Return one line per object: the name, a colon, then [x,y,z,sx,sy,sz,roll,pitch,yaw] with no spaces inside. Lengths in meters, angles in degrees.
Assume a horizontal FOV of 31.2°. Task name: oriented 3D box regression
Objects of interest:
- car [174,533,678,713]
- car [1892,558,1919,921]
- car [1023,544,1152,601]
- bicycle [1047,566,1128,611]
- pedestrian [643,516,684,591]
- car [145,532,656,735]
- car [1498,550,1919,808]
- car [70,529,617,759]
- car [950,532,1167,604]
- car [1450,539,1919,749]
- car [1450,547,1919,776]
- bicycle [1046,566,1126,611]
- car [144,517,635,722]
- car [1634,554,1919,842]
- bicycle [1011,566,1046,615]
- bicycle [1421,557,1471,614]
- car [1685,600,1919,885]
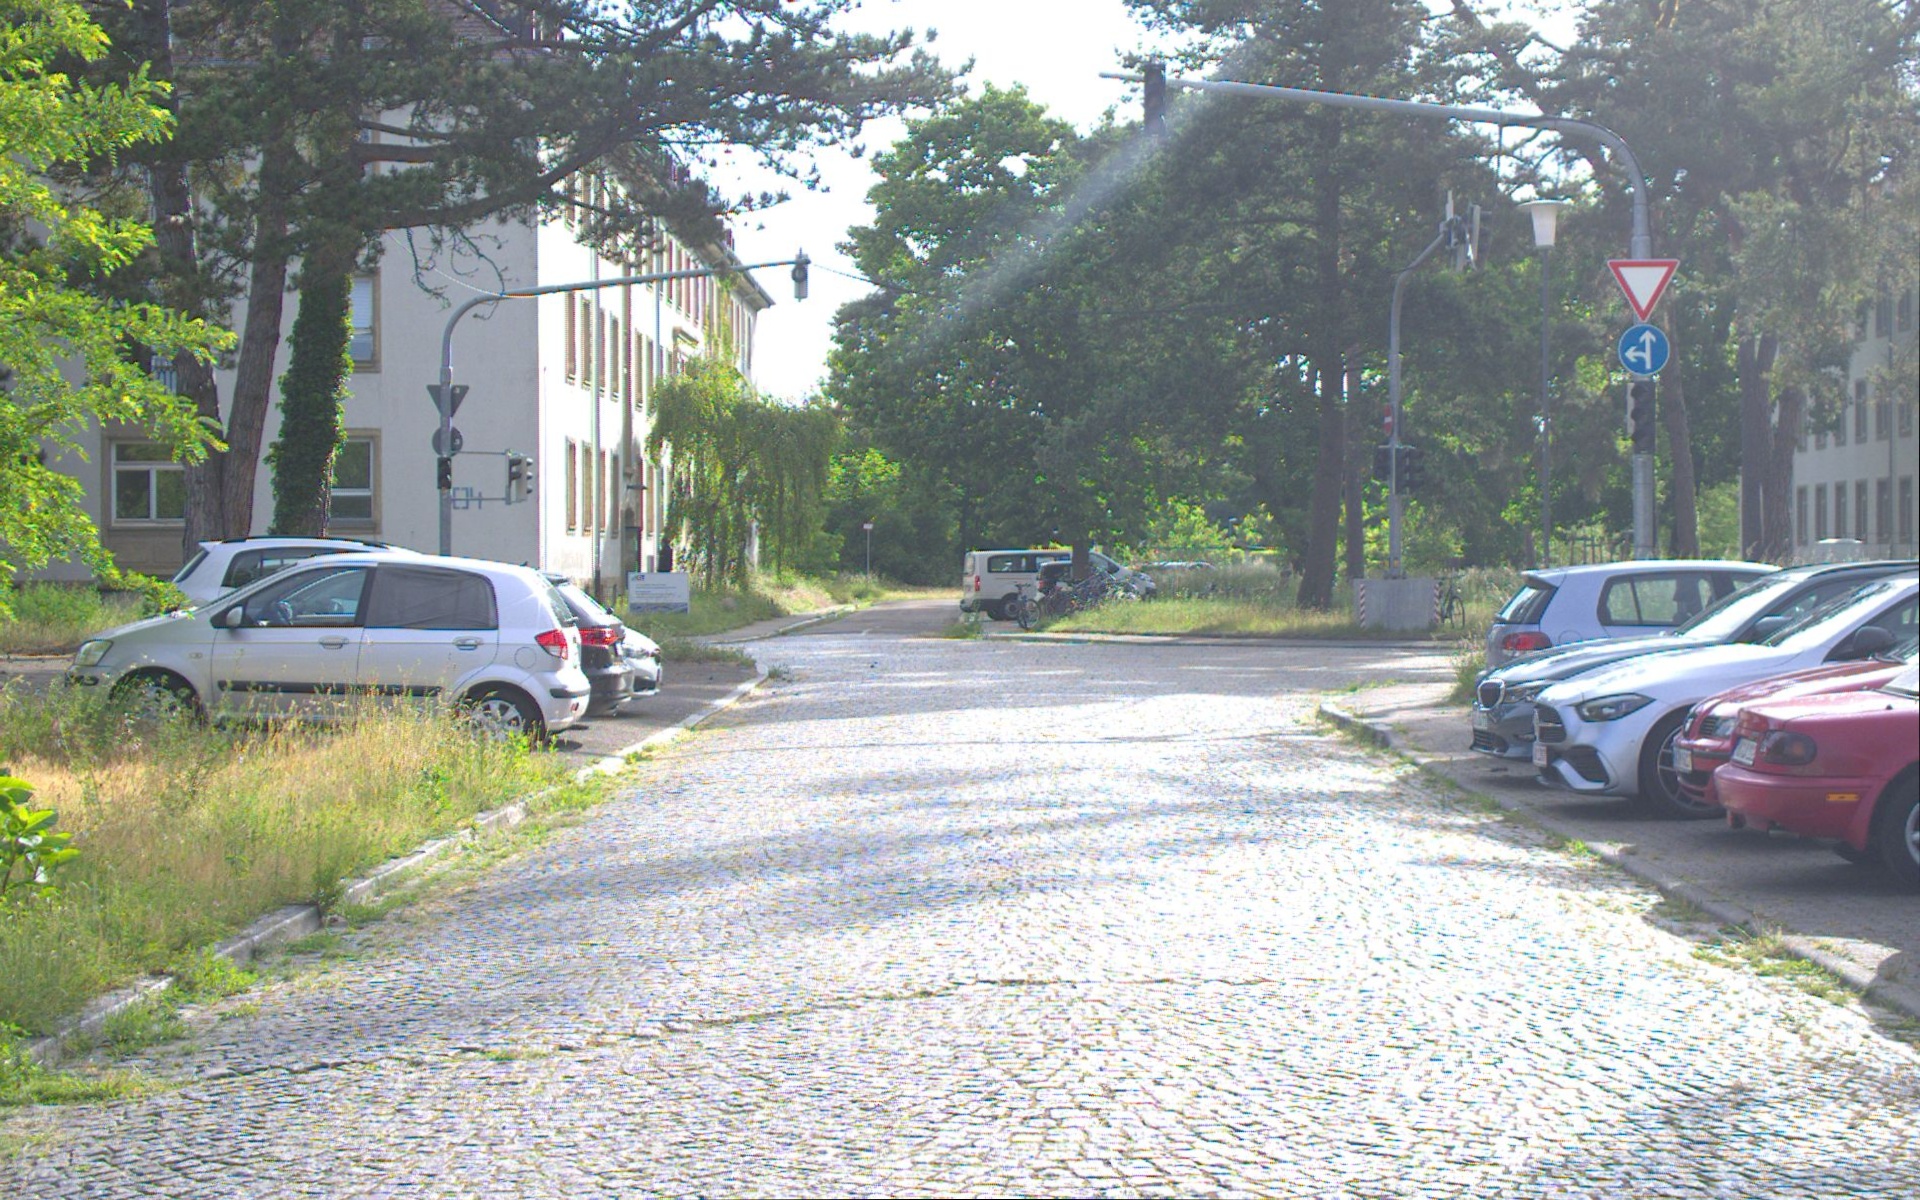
car: [-5.121,0.200,33.432,4.587,1.450,1.903,3,2,-2]
car: [5.894,0.549,13.562,3.951,1.490,1.772,-1,0,1]
car: [3.312,-0.703,89.751,3.031,1.460,1.720,0,0,-12]
bicycle: [2.860,-0.264,77.390,1.793,0.995,0.644,-1,2,0]
pedestrian: [-7.739,-1.218,89.903,0.985,1.956,0.933,0,0,0]
car: [-4.520,0.259,28.186,3.828,1.424,1.859,3,0,0]
car: [5.667,0.442,20.853,4.506,1.468,1.849,-1,0,1]
car: [-4.505,0.311,25.530,3.683,1.468,1.850,3,0,-1]
car: [2.669,-0.848,93.327,5.499,1.909,2.255,0,0,-13]
car: [6.170,0.310,26.249,4.543,1.500,1.933,-1,0,-1]
car: [5.799,0.388,23.630,4.506,1.468,1.895,-1,0,-3]
bicycle: [2.866,-0.268,78.411,1.793,0.995,0.644,-1,2,0]
car: [-5.050,0.165,30.887,4.121,1.594,1.859,3,0,-4]
car: [5.987,0.480,18.577,4.341,1.468,1.740,-1,0,1]
bicycle: [1.461,-0.214,73.822,0.728,0.995,1.799,0,2,0]
bicycle: [8.925,-0.272,63.119,0.562,0.995,1.752,-1,2,-4]
car: [5.576,0.619,16.207,3.951,1.256,1.726,-1,0,1]
